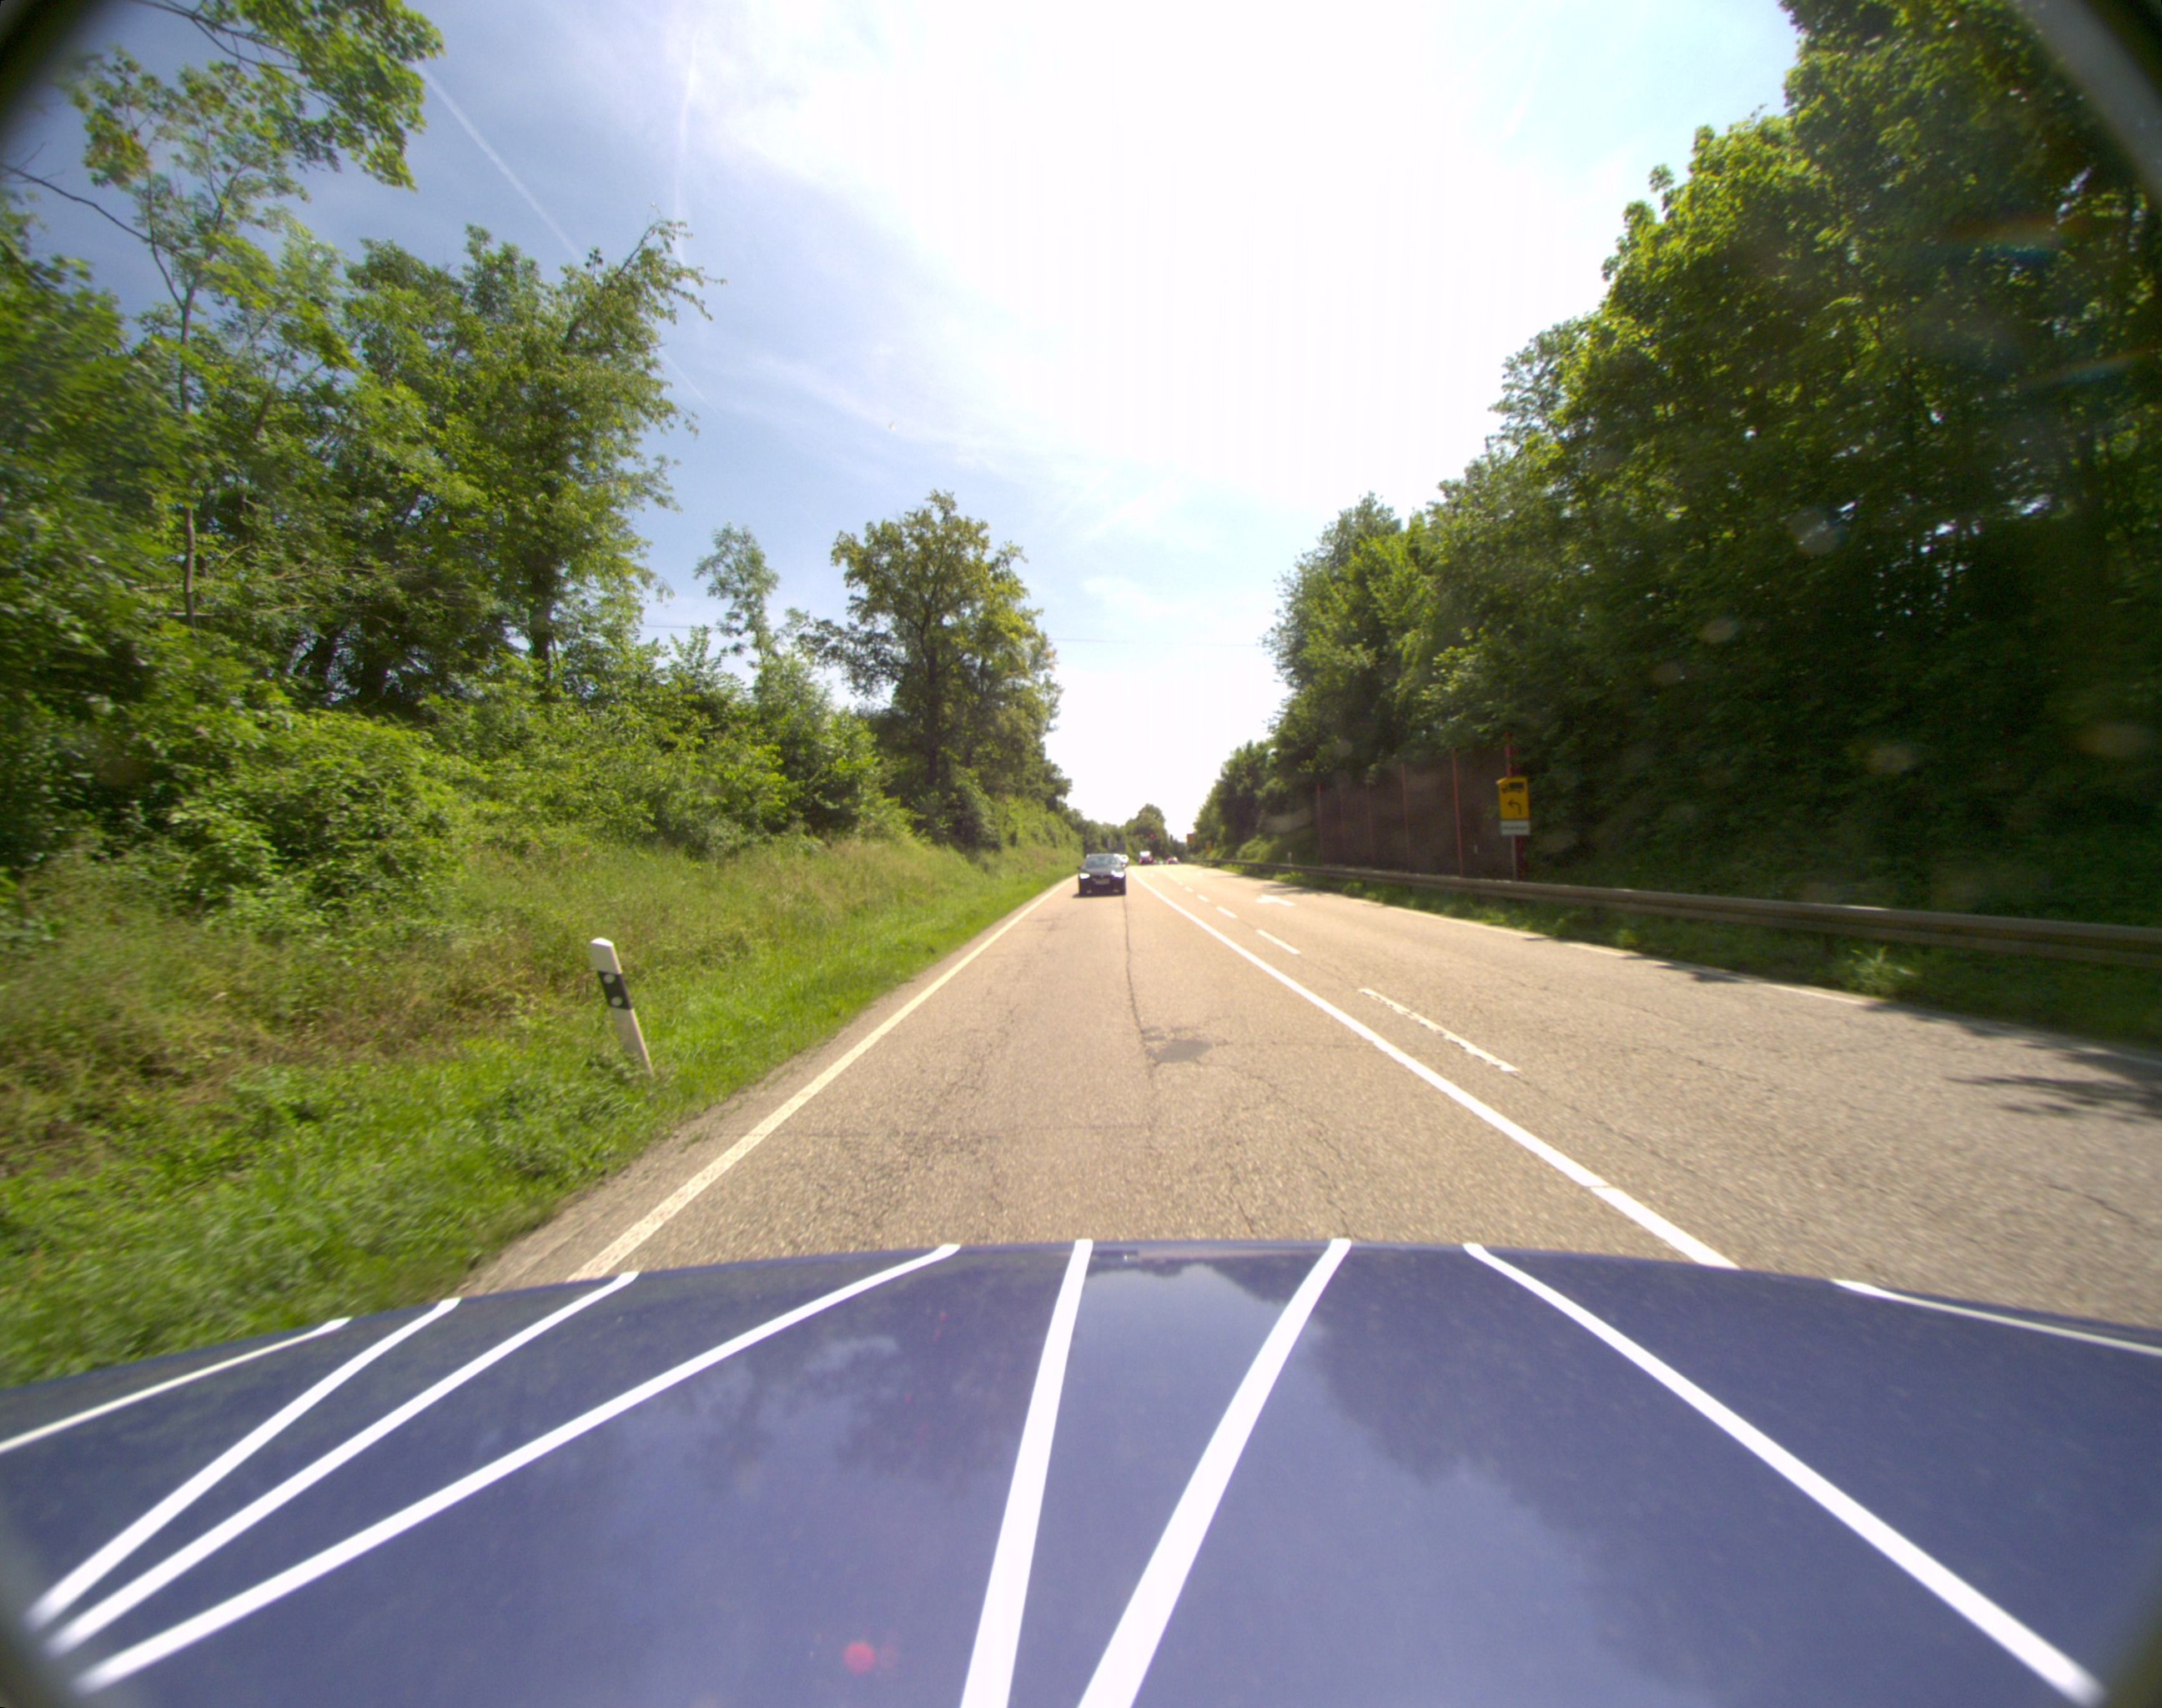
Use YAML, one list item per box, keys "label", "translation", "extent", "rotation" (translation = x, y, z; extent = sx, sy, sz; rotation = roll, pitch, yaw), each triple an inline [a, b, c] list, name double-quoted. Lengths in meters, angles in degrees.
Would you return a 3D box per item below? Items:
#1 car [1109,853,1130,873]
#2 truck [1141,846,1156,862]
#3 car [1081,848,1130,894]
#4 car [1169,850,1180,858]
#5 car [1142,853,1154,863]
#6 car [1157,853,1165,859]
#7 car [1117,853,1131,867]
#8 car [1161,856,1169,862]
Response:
- label: "car"
  translation: [3.632, 0.873, 72.471]
  extent: [1.770, 1.674, 4.000]
  rotation: [-4, -1, 0]
- label: "truck"
  translation: [16.860, -0.061, 189.317]
  extent: [2.838, 3.794, 8.455]
  rotation: [-3, 0, 8]
- label: "car"
  translation: [0.935, 0.619, 28.877]
  extent: [1.626, 1.535, 4.001]
  rotation: [-3, 0, 2]
- label: "car"
  translation: [16.312, -0.005, 132.431]
  extent: [1.810, 1.427, 3.873]
  rotation: [-1, 0, 5]
- label: "car"
  translation: [10.598, 0.609, 120.326]
  extent: [1.808, 1.444, 4.389]
  rotation: [-2, 0, 6]
- label: "car"
  translation: [23.385, 0.581, 222.088]
  extent: [1.997, 1.790, 4.003]
  rotation: [-4, -1, 10]
- label: "car"
  translation: [7.026, 0.957, 123.092]
  extent: [1.998, 2.001, 4.002]
  rotation: [-4, -1, 5]
- label: "car"
  translation: [26.244, 1.539, 237.578]
  extent: [1.997, 2.001, 4.003]
  rotation: [-4, -1, 10]
